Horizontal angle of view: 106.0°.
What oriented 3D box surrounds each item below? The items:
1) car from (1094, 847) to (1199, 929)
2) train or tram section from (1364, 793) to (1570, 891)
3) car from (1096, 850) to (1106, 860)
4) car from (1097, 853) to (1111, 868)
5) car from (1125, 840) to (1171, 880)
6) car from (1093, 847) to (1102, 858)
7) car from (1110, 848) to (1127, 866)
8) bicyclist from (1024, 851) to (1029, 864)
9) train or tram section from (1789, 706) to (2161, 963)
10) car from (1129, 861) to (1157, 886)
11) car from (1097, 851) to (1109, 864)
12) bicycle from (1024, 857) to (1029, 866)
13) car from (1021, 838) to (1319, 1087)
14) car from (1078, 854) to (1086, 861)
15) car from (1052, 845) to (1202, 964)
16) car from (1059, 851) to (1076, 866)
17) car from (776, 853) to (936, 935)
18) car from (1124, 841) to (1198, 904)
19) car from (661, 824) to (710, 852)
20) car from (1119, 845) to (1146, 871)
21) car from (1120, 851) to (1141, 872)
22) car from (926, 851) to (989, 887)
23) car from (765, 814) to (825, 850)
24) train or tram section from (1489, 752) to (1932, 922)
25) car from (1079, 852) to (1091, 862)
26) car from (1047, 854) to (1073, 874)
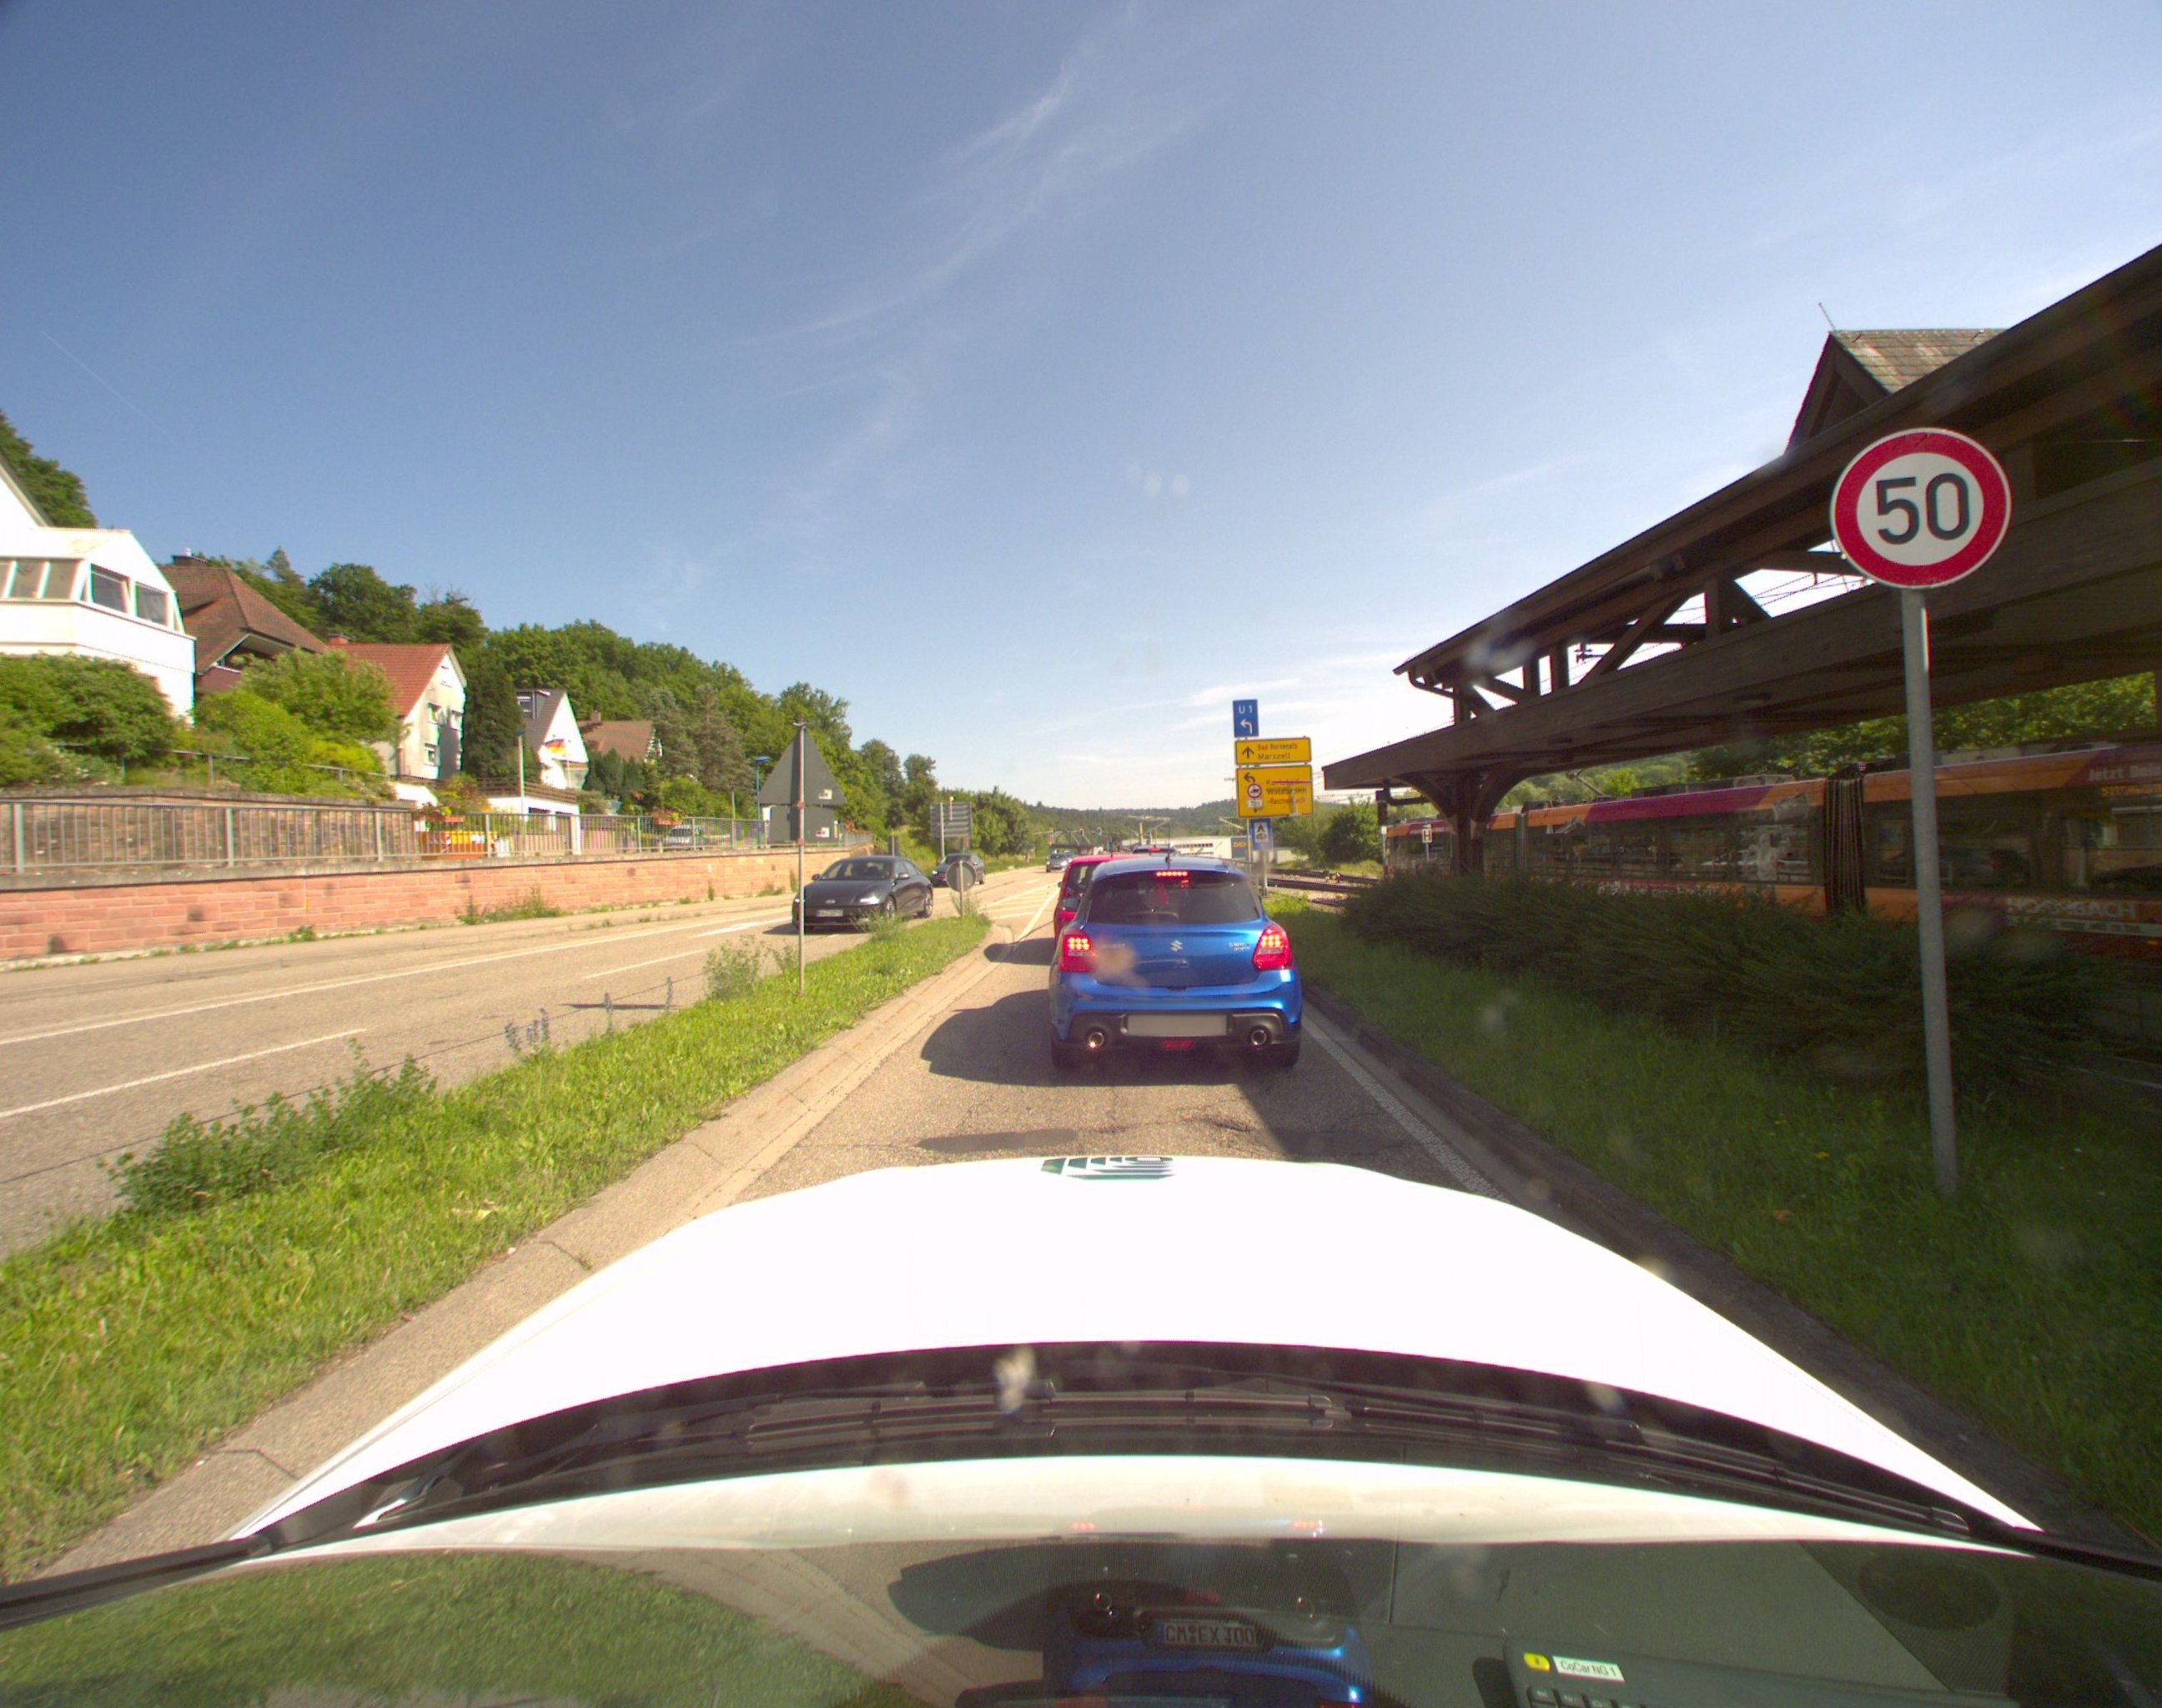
[{"bbox_3d":[1.402,0.644,18.078,1.985,1.531,4.606,-2,0,3],"label":"car"},{"bbox_3d":[15.402,-0.488,34.075,2.748,3.364,12.043,0,1,-1],"label":"train or tram section"},{"bbox_3d":[3.790,0.163,153.537,1.986,1.816,4.002,0,1,2],"label":"car"},{"bbox_3d":[3.216,0.929,113.597,1.986,2.013,4.002,0,1,2],"label":"car"},{"bbox_3d":[3.089,0.248,38.058,1.985,1.736,4.004,0,0,3],"label":"car"},{"bbox_3d":[3.478,-0.291,170.976,1.986,2.144,4.722,0,0,2],"label":"car"},{"bbox_3d":[4.393,0.364,95.937,1.986,2.013,4.002,0,1,2],"label":"car"},{"bbox_3d":[-6.476,0.449,96.857,0.627,1.507,0.506,0,1,-2],"label":"bicyclist"},{"bbox_3d":[15.562,-0.269,9.053,2.847,3.365,14.351,-1,0,0],"label":"train or tram section"},{"bbox_3d":[4.200,1.295,55.081,1.824,1.493,3.815,0,1,4],"label":"car"},{"bbox_3d":[3.687,0.570,134.785,1.986,2.013,4.002,0,1,2],"label":"car"},{"bbox_3d":[-6.488,0.854,96.836,0.564,1.043,1.551,0,1,-1],"label":"bicycle"},{"bbox_3d":[0.606,0.676,7.151,1.862,1.548,4.001,-1,0,1],"label":"car"},{"bbox_3d":[0.296,0.897,237.347,1.986,2.013,4.002,0,0,2],"label":"car"},{"bbox_3d":[0.733,0.672,12.822,1.985,1.571,4.004,0,0,3],"label":"car"},{"bbox_3d":[-1.536,0.455,92.150,1.826,1.468,3.811,1,2,0],"label":"car"},{"bbox_3d":[-4.609,0.752,17.505,1.783,1.470,4.722,-1,0,5],"label":"car"},{"bbox_3d":[2.282,0.486,24.147,1.985,1.686,4.501,0,0,3],"label":"car"},{"bbox_3d":[-24.467,-0.967,50.496,1.898,1.629,3.981,-1,0,-14],"label":"car"},{"bbox_3d":[4.121,0.308,65.630,1.986,2.013,4.002,0,1,2],"label":"car"},{"bbox_3d":[4.880,0.706,80.932,1.986,2.013,4.002,0,1,2],"label":"car"},{"bbox_3d":[-5.790,0.676,38.700,1.985,1.564,4.514,-1,0,4],"label":"car"},{"bbox_3d":[-16.109,-1.233,46.122,2.017,1.920,4.724,0,1,-5],"label":"car"},{"bbox_3d":[15.499,-0.310,22.178,2.777,3.364,12.045,0,0,0],"label":"train or tram section"},{"bbox_3d":[0.667,0.514,140.231,1.986,1.783,4.002,0,0,2],"label":"car"},{"bbox_3d":[-1.605,0.757,63.282,1.665,1.441,3.843,-1,0,3],"label":"car"}]
